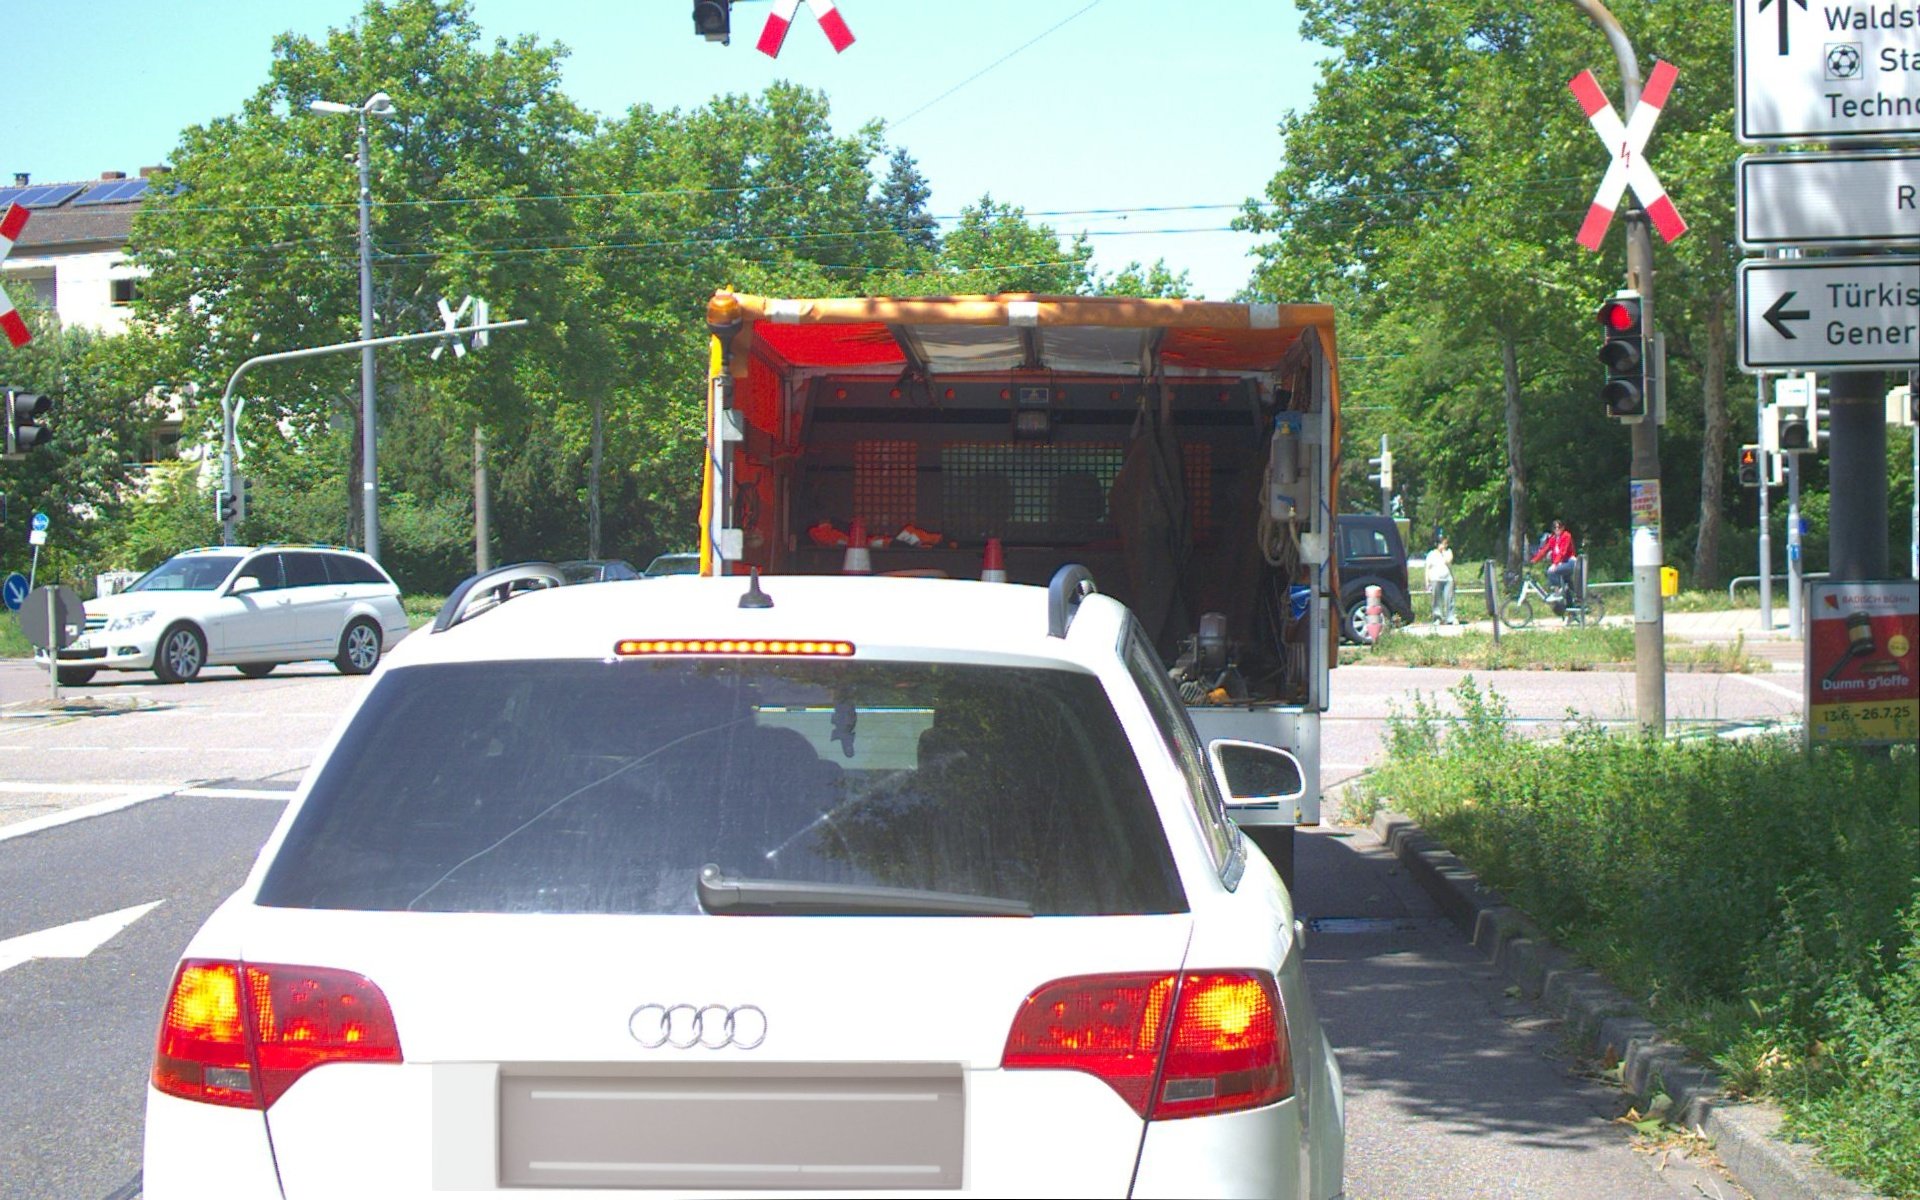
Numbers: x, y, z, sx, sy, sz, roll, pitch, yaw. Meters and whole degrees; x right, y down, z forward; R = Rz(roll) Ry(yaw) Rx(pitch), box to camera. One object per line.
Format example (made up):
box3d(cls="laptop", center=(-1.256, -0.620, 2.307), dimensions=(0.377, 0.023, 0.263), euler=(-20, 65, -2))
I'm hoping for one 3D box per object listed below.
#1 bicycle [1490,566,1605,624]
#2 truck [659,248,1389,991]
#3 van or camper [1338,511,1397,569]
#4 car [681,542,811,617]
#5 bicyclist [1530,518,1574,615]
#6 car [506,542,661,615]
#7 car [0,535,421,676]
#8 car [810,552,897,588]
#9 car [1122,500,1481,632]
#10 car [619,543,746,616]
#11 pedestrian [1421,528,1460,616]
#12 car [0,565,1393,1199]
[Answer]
box3d(cls="bicycle", center=(9.537, -0.082, 55.827), dimensions=(1.806, 0.892, 0.589), euler=(-1, 1, 8))
box3d(cls="truck", center=(0.388, 0.012, 15.768), dimensions=(2.511, 2.551, 7.603), euler=(1, 1, 3))
box3d(cls="van or camper", center=(23.890, -3.525, 201.358), dimensions=(2.662, 3.320, 5.497), euler=(0, 1, 14))
box3d(cls="car", center=(-4.575, -0.461, 74.133), dimensions=(1.909, 1.533, 4.297), euler=(-1, 1, 8))
box3d(cls="bicyclist", center=(9.615, -0.544, 55.805), dimensions=(0.671, 1.551, 0.579), euler=(-1, 1, 8))
box3d(cls="car", center=(-8.006, -0.490, 73.517), dimensions=(1.950, 1.435, 4.744), euler=(0, 2, 11))
box3d(cls="car", center=(-8.121, 0.022, 37.593), dimensions=(1.857, 1.413, 4.539), euler=(0, 1, 32))
box3d(cls="car", center=(-4.296, -1.230, 139.221), dimensions=(1.884, 1.388, 3.994), euler=(0, 1, 26))
box3d(cls="car", center=(4.584, -0.476, 46.383), dimensions=(4.428, 1.673, 1.918), euler=(-1, 1, -12))
box3d(cls="car", center=(-6.483, -0.503, 80.781), dimensions=(1.788, 1.609, 4.402), euler=(-1, 1, 12))
box3d(cls="pedestrian", center=(8.177, -0.484, 58.515), dimensions=(0.553, 1.479, 0.629), euler=(-1, 1, 16))
box3d(cls="car", center=(-0.249, 0.679, 5.998), dimensions=(1.763, 1.440, 3.615), euler=(0, 1, 4))
